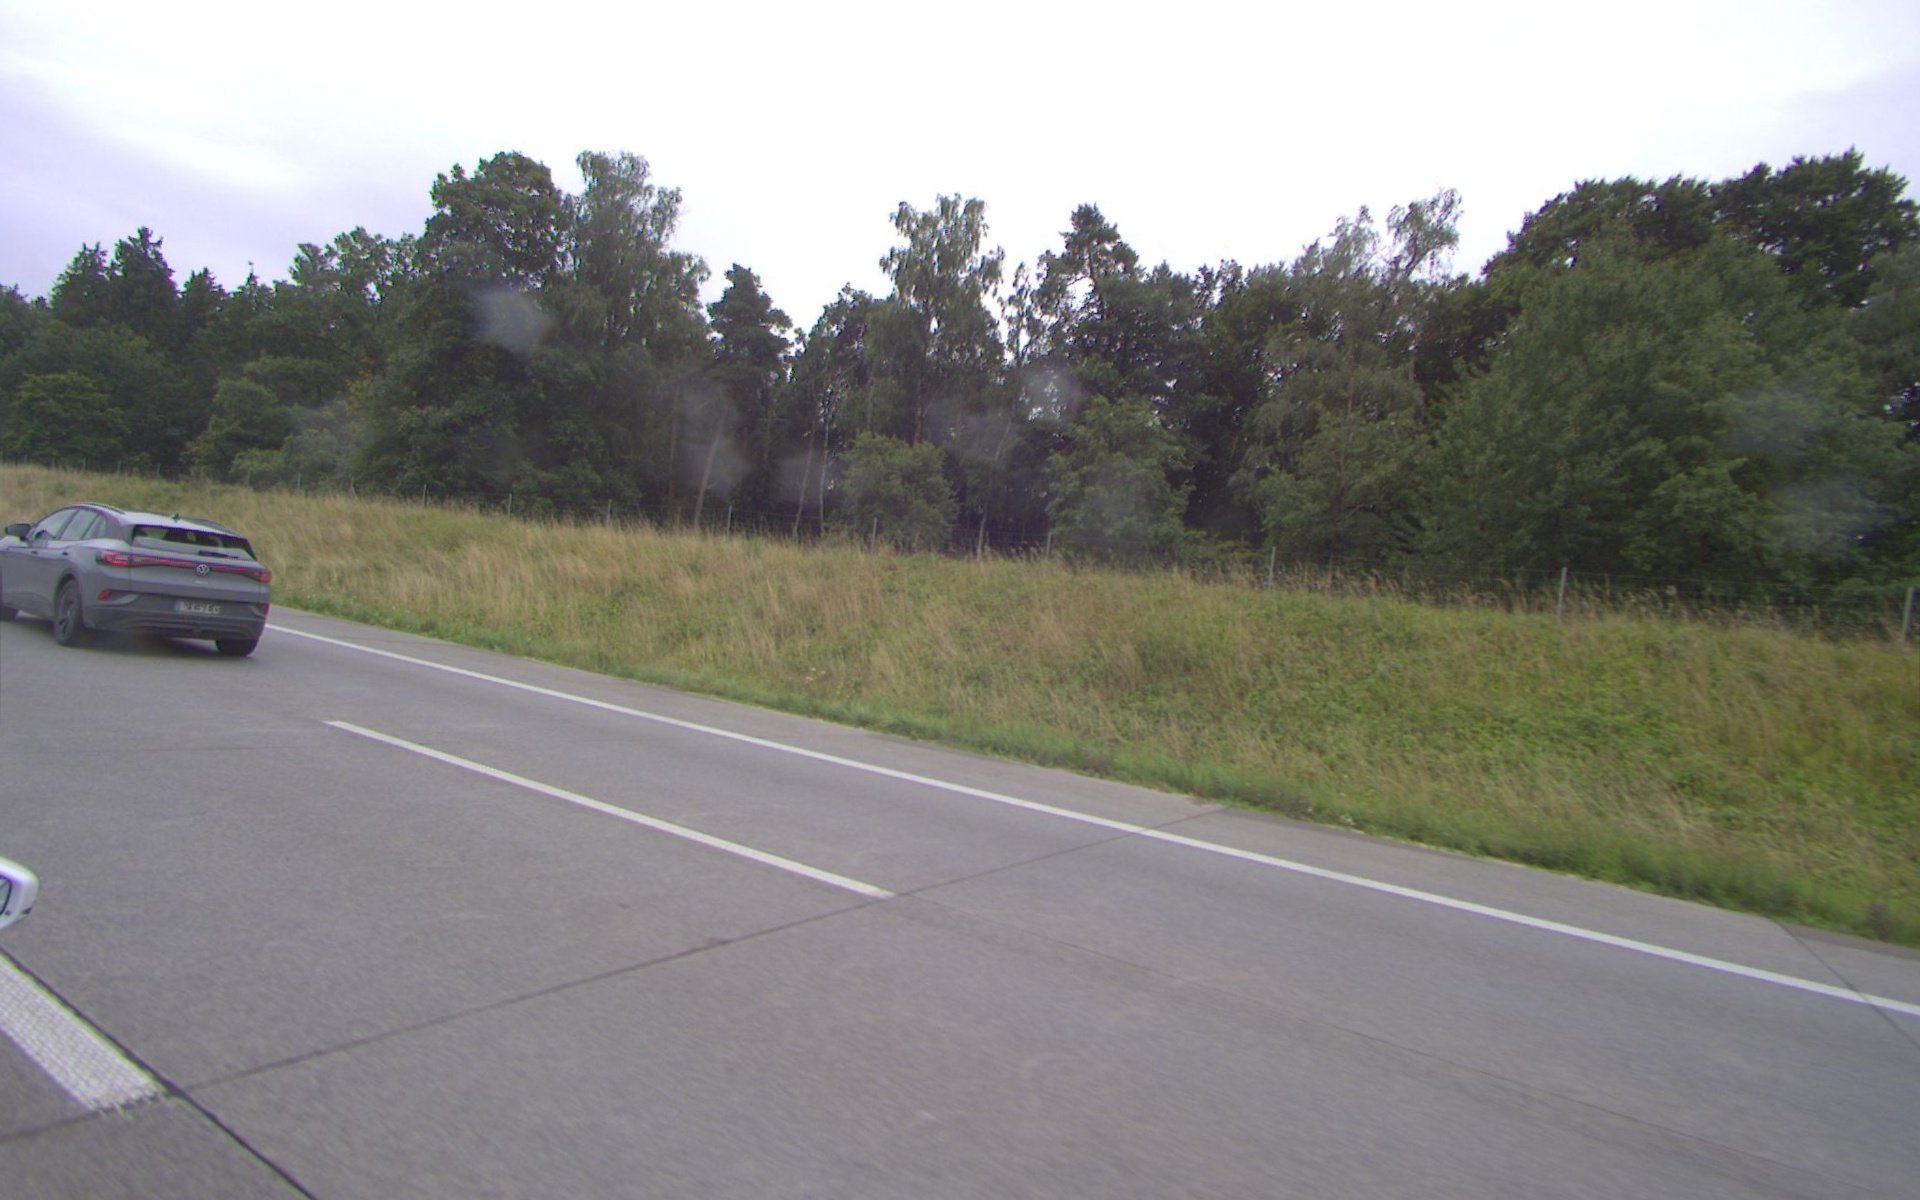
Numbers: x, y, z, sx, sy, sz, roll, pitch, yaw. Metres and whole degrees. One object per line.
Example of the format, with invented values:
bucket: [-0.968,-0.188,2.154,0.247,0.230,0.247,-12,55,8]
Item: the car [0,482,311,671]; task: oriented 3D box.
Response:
car: [-10.547,-0.382,12.666,5.180,1.709,1.901,8,-1,33]
